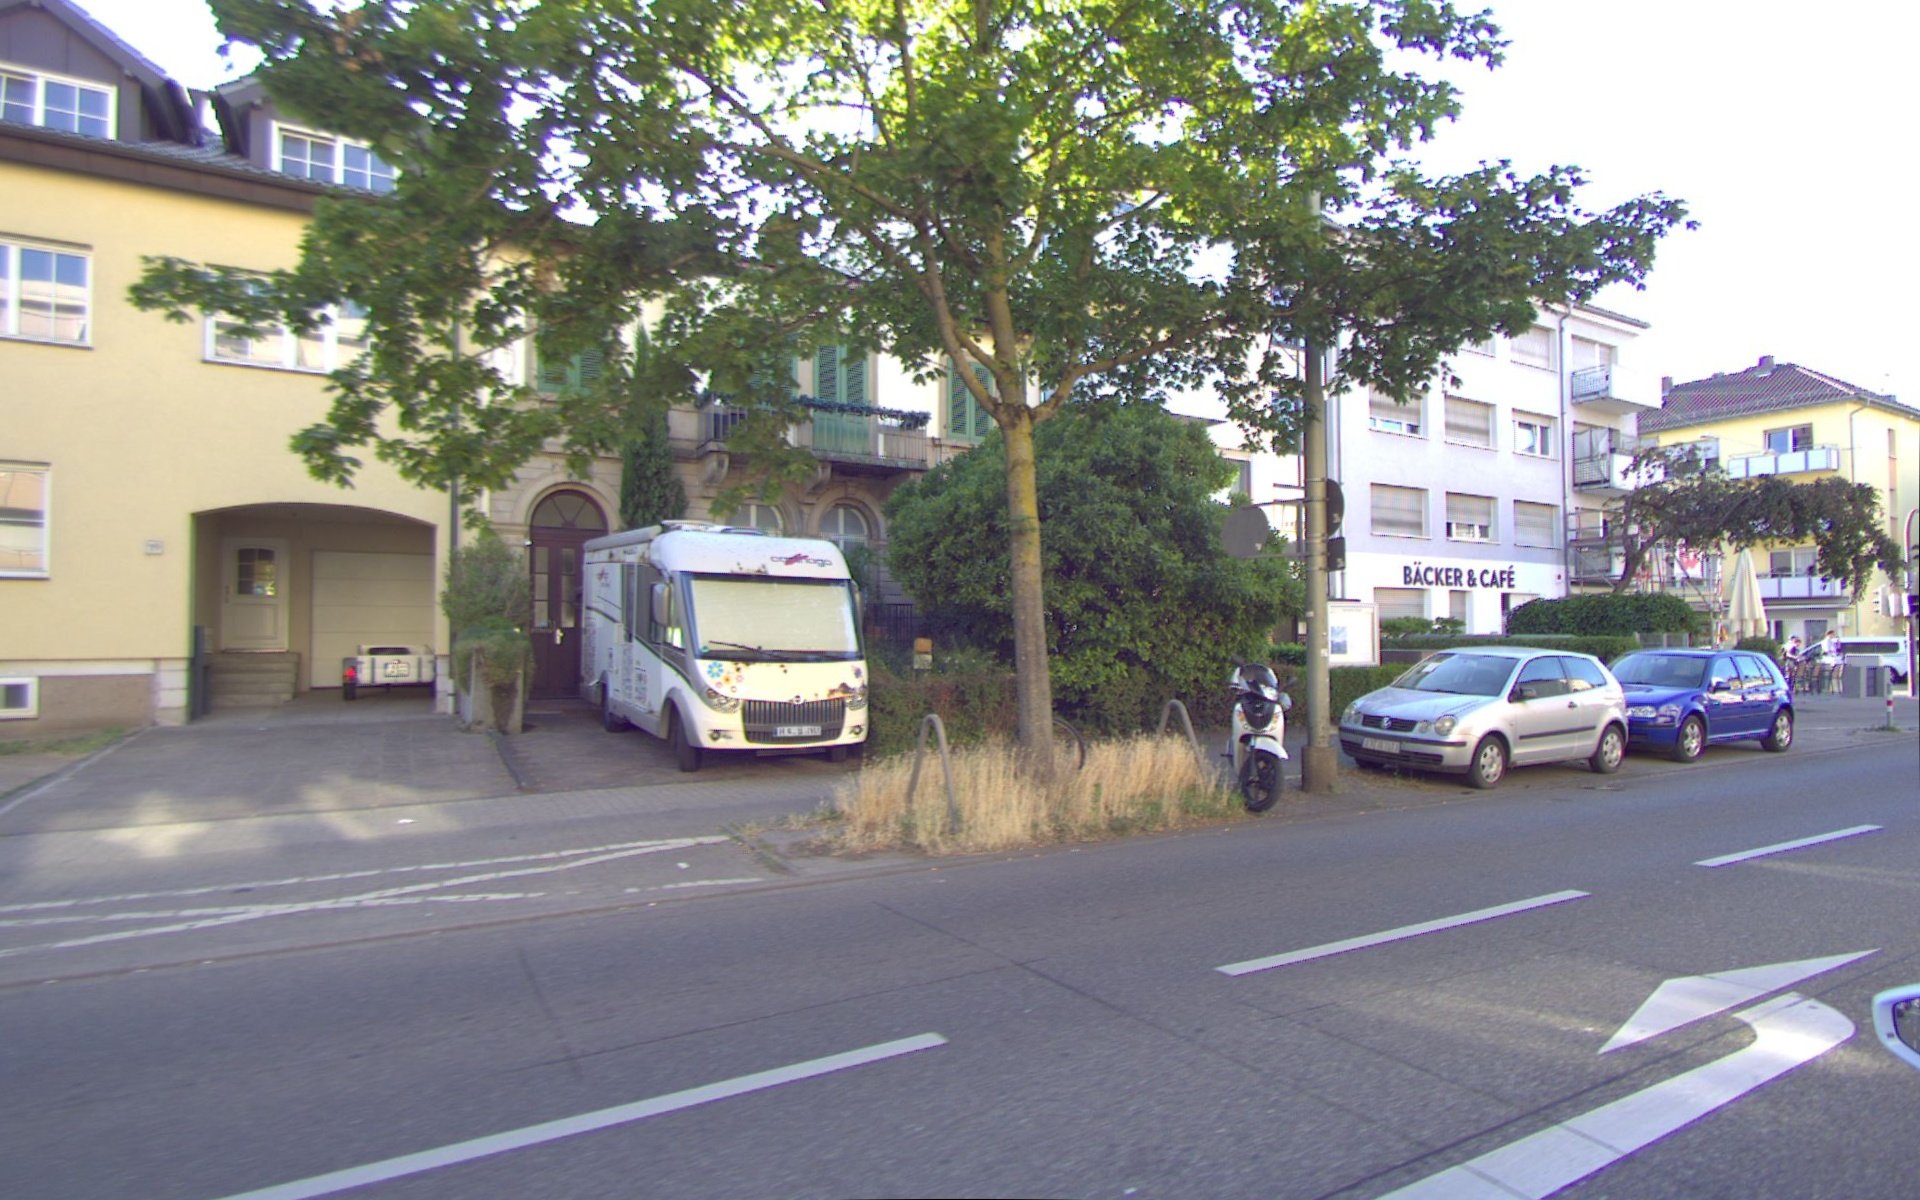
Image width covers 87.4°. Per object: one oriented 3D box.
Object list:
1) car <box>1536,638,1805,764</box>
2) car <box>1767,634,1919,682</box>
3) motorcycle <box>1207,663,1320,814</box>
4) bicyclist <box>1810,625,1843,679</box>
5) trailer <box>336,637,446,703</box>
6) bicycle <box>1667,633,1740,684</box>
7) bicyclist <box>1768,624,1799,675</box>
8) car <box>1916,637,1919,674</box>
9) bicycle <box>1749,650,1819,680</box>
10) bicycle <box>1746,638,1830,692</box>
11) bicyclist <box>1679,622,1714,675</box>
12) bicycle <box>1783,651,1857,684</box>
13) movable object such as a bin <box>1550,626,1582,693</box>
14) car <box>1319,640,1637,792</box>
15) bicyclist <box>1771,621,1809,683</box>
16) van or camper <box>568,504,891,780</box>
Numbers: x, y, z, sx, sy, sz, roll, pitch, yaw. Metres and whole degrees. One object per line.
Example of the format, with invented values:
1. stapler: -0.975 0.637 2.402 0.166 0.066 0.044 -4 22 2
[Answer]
1. car: 10.148 1.334 14.287 4.026 1.537 1.641 1 -1 -31
2. car: 35.751 2.292 40.520 1.840 1.835 4.613 1 -3 -30
3. motorcycle: 2.930 1.288 9.907 0.751 1.281 2.056 0 -2 8
4. bicyclist: 30.439 1.819 35.286 0.648 1.847 0.733 2 -2 -39
5. trailer: -10.228 1.219 18.085 1.608 0.973 2.392 1 0 -30
6. bicycle: 26.090 2.034 35.263 0.749 1.728 1.909 1 -2 -32
7. bicyclist: 30.388 1.835 37.066 0.648 1.847 0.733 2 -2 -39
8. car: 42.322 2.343 40.922 1.840 1.555 4.612 1 -1 -30
9. bicycle: 30.383 2.384 37.047 0.713 1.085 1.885 2 -3 -39
10. bicycle: 27.493 2.124 33.398 0.749 1.728 2.011 1 -2 -32
11. bicyclist: 25.986 1.710 35.433 0.702 1.823 0.782 1 -2 -32
12. bicycle: 30.320 2.368 35.429 0.713 1.085 1.885 2 -3 -39
13. movable object such as a bin: 13.417 1.313 22.240 0.569 1.446 0.390 1 -2 -32
14. car: 6.192 1.253 11.926 3.759 1.490 1.586 1 0 -30
15. bicyclist: 27.581 1.715 33.390 0.835 2.040 0.721 1 -2 -33
16. van or camper: -3.522 0.421 13.727 2.325 2.810 6.763 1 0 -31
